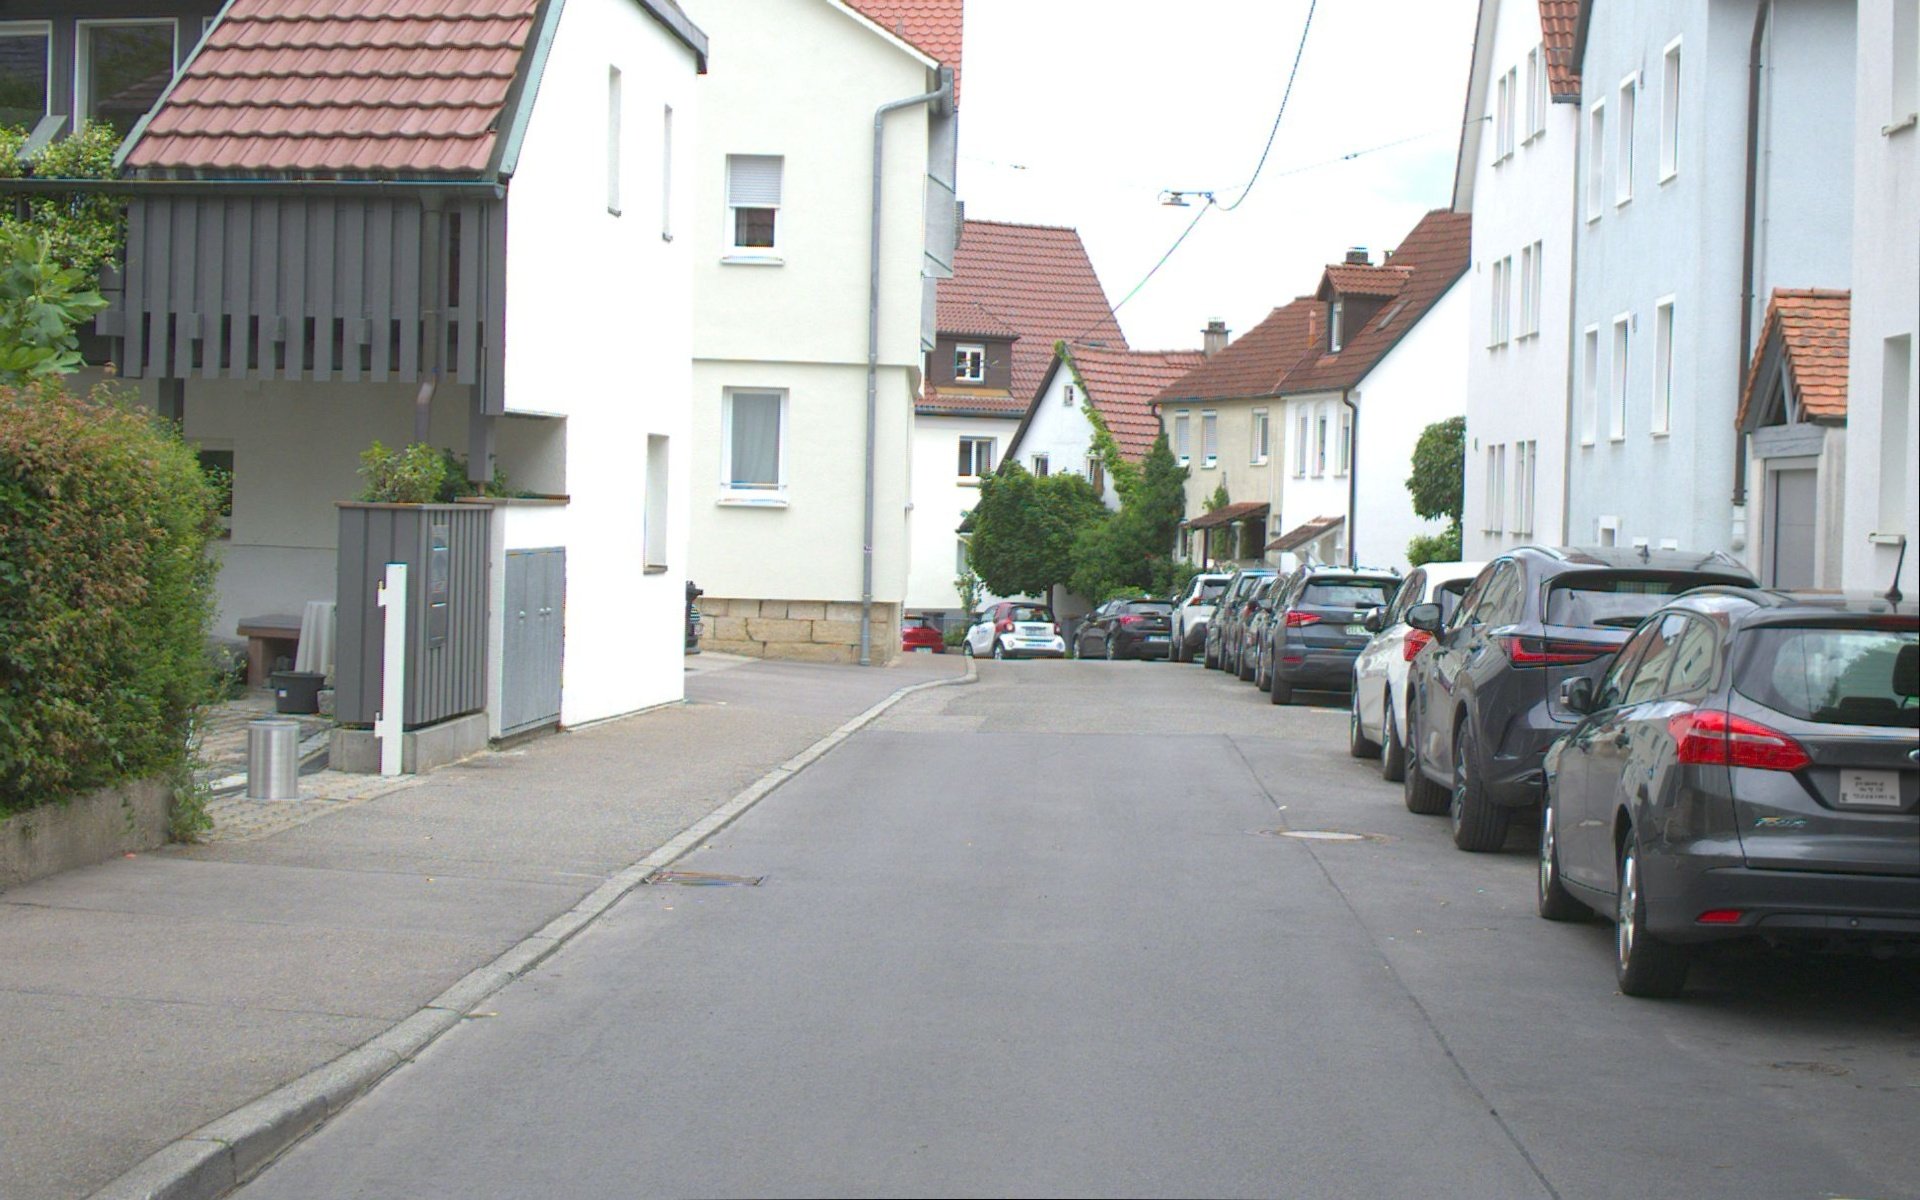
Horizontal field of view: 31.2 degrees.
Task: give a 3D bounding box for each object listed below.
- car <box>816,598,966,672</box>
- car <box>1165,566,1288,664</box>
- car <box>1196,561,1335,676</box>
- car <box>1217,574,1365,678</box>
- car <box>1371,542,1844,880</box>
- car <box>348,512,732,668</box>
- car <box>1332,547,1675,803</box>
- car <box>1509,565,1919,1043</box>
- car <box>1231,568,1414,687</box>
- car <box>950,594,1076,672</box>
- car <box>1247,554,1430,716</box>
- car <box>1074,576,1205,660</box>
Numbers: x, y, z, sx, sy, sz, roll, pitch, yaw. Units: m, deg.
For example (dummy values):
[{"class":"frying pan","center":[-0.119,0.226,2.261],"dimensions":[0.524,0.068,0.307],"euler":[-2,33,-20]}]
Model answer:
[{"class":"car","center":[-1.821,0.931,89.375],"dimensions":[1.994,1.678,3.999],"euler":[-5,0,-32]},{"class":"car","center":[4.918,0.289,63.933],"dimensions":[1.873,1.707,4.148],"euler":[2,0,-1]},{"class":"car","center":[4.750,0.288,53.902],"dimensions":[1.736,1.605,4.000],"euler":[4,0,0]},{"class":"car","center":[4.639,0.372,48.682],"dimensions":[1.797,1.347,4.074],"euler":[2,-1,2]},{"class":"car","center":[3.516,0.527,19.577],"dimensions":[1.863,1.627,4.901],"euler":[2,1,2]},{"class":"car","center":[-4.615,-0.098,38.115],"dimensions":[3.732,1.407,2.119],"euler":[4,0,7]},{"class":"car","center":[3.895,0.461,25.450],"dimensions":[1.994,1.610,4.878],"euler":[3,1,4]},{"class":"car","center":[3.426,0.664,13.592],"dimensions":[1.948,1.502,4.820],"euler":[2,1,3]},{"class":"car","center":[4.503,0.321,43.341],"dimensions":[1.918,1.405,4.656],"euler":[0,0,1]},{"class":"car","center":[1.257,0.783,83.905],"dimensions":[1.962,1.707,4.001],"euler":[2,1,-15]},{"class":"car","center":[4.194,0.341,38.625],"dimensions":[1.754,1.622,4.534],"euler":[3,1,4]},{"class":"car","center":[3.870,0.424,74.746],"dimensions":[1.993,1.707,4.001],"euler":[1,-2,-10]}]
